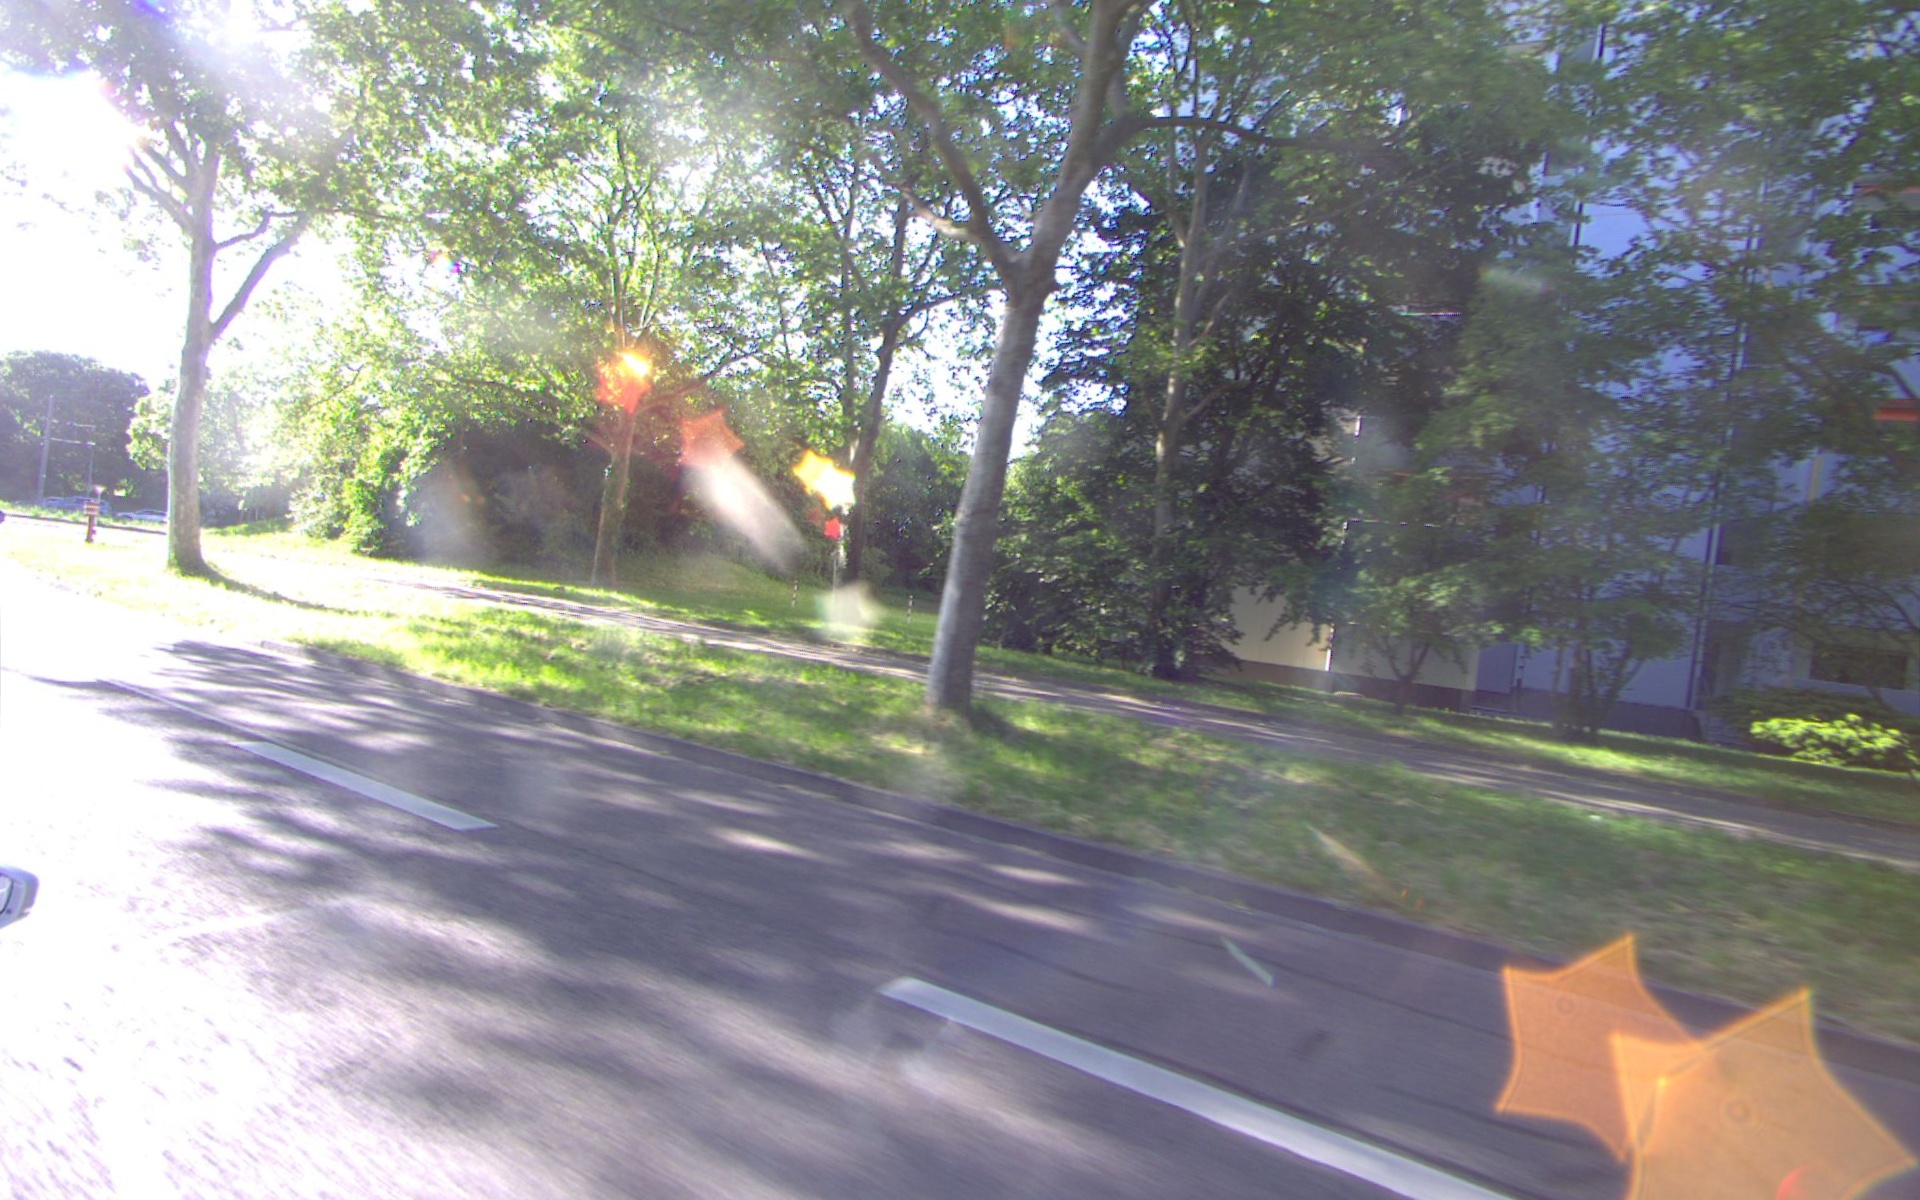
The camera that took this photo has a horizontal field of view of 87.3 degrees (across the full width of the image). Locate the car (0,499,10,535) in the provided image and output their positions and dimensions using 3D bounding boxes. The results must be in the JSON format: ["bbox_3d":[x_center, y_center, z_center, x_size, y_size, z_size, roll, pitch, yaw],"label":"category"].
[{"bbox_3d":[-49.908,-4.450,49.696,1.956,1.812,4.609,8,-3,-10],"label":"car"}]

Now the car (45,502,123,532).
[{"bbox_3d":[-69.406,-6.552,79.828,4.326,1.576,1.856,9,-2,-34],"label":"car"}]

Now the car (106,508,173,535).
[{"bbox_3d":[-68.452,-6.552,84.023,3.962,1.512,1.846,9,-2,-33],"label":"car"}]
